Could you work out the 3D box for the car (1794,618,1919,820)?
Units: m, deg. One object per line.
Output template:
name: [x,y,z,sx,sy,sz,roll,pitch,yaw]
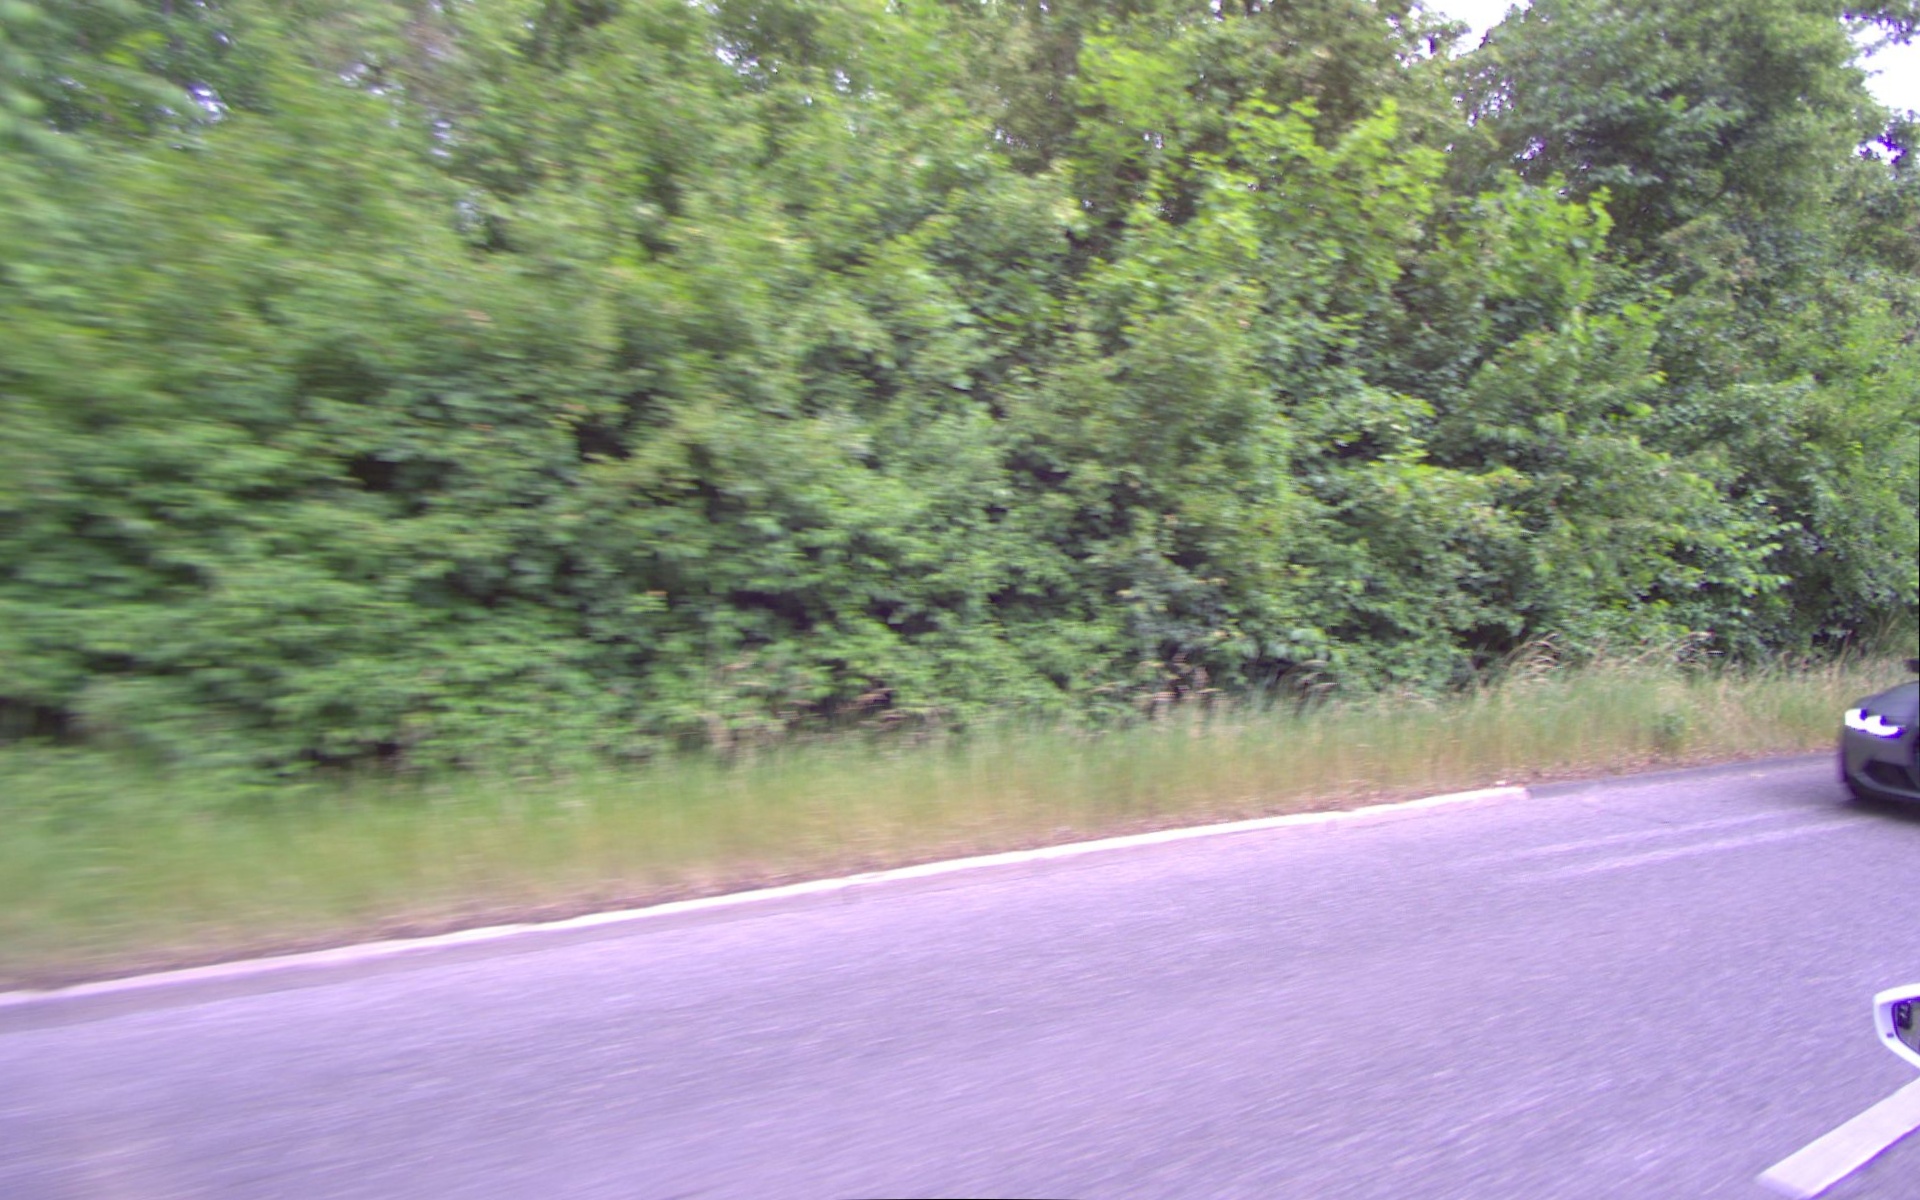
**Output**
car: [8.928,0.915,7.892,4.780,1.372,1.891,2,1,-27]
